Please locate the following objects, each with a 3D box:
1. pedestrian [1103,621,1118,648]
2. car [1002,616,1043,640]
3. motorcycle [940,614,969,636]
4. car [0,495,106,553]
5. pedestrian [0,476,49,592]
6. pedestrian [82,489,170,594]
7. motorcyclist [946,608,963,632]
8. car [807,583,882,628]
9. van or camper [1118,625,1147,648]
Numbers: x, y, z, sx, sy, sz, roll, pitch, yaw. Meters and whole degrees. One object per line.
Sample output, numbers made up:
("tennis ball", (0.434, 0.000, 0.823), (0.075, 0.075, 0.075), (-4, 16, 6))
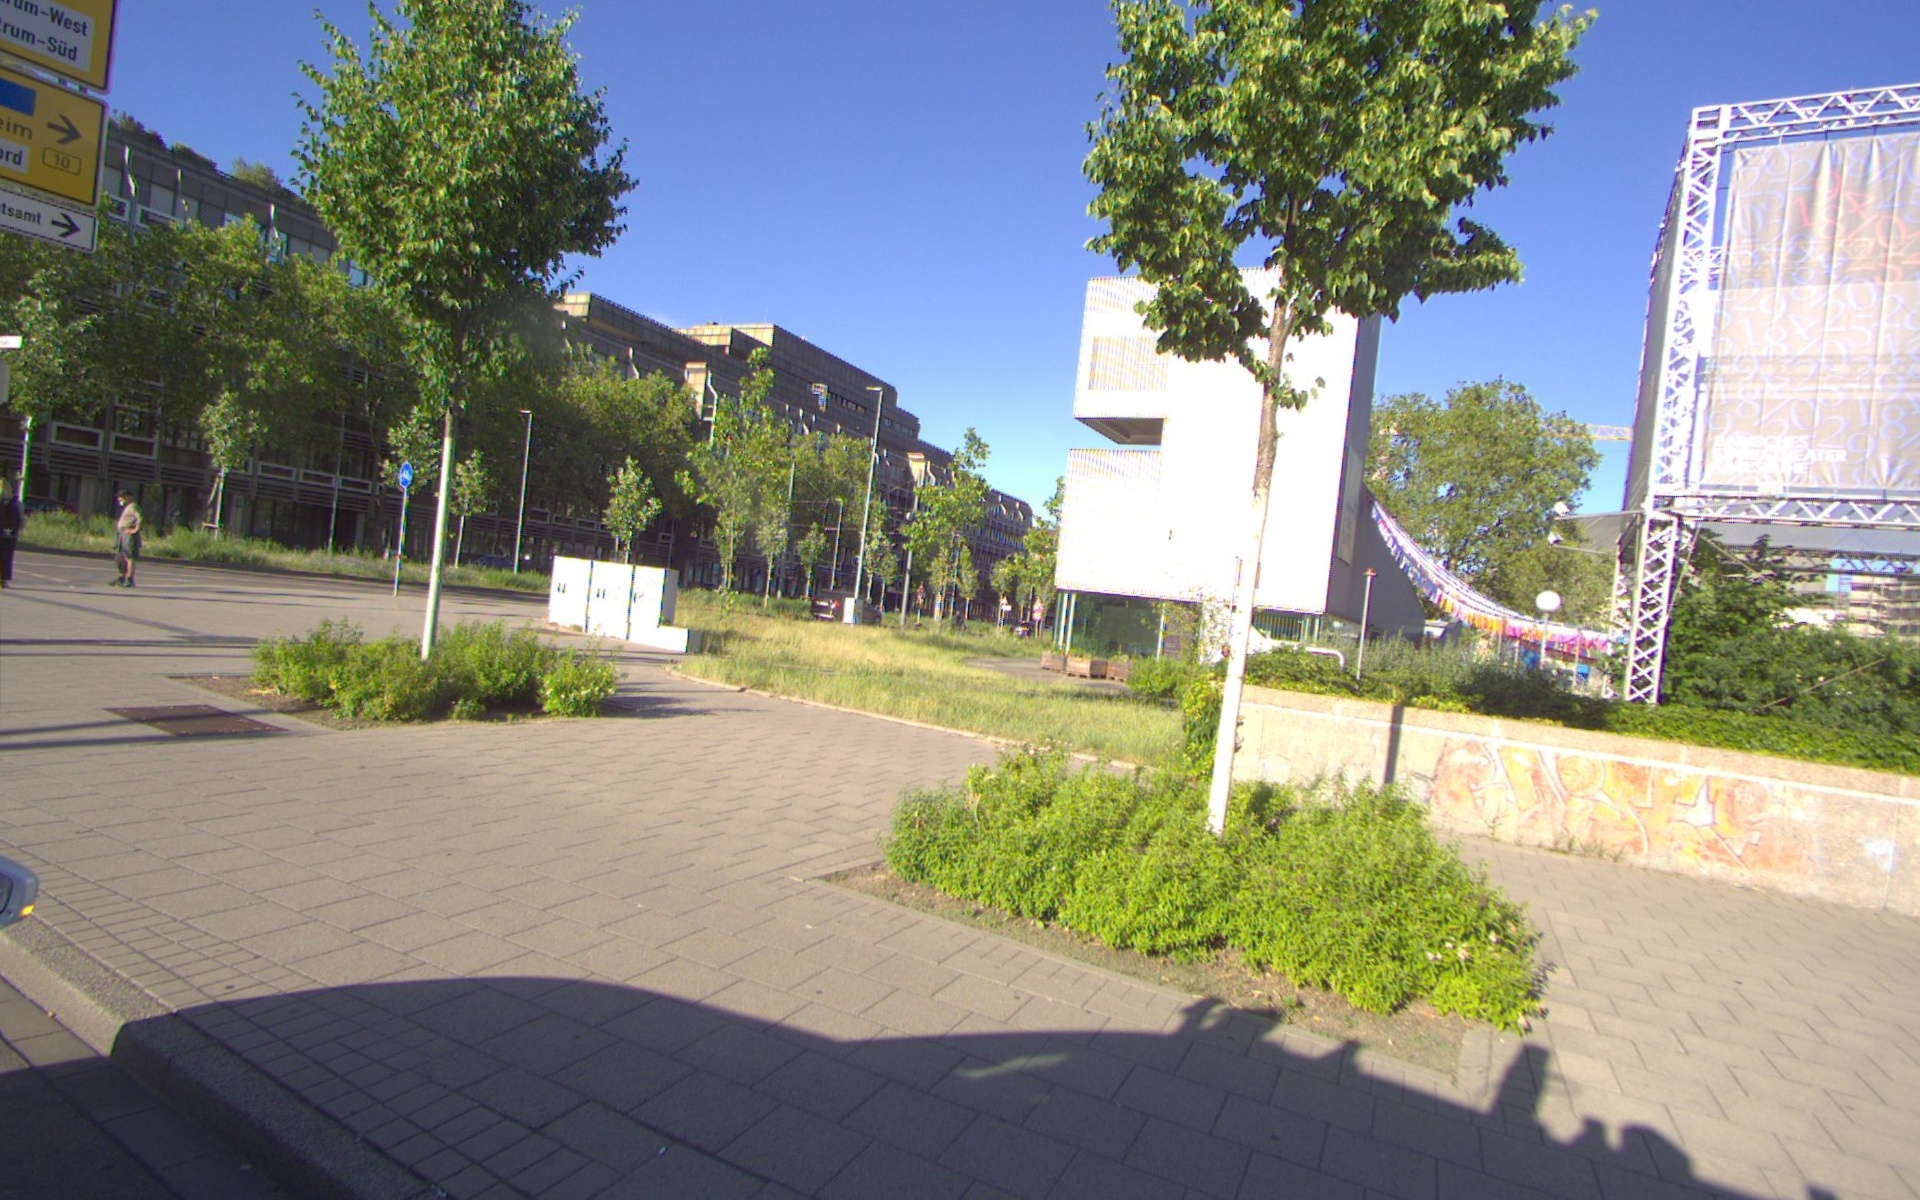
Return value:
("pedestrian", (9.139, 2.091, 61.159), (0.520, 1.571, 0.638), (7, -1, 31))
("car", (4.764, 2.145, 76.114), (1.642, 1.528, 3.871), (7, -1, 25))
("motorcycle", (-0.358, 1.584, 64.195), (0.716, 1.223, 2.602), (8, 0, 24))
("car", (-33.252, -2.784, 35.490), (1.792, 1.704, 4.302), (7, -1, 21))
("pedestrian", (-14.227, -1.005, 14.893), (0.859, 1.634, 0.767), (7, 1, 30))
("pedestrian", (-14.904, -1.039, 17.992), (0.755, 1.728, 0.873), (7, 1, 30))
("motorcyclist", (-0.349, 1.258, 64.155), (0.636, 1.441, 0.658), (8, 1, 24))
("car", (-5.953, 0.335, 52.430), (1.851, 1.886, 4.833), (7, -1, 18))
("van or camper", (17.262, 3.687, 100.607), (1.969, 2.038, 4.844), (7, -1, 19))
